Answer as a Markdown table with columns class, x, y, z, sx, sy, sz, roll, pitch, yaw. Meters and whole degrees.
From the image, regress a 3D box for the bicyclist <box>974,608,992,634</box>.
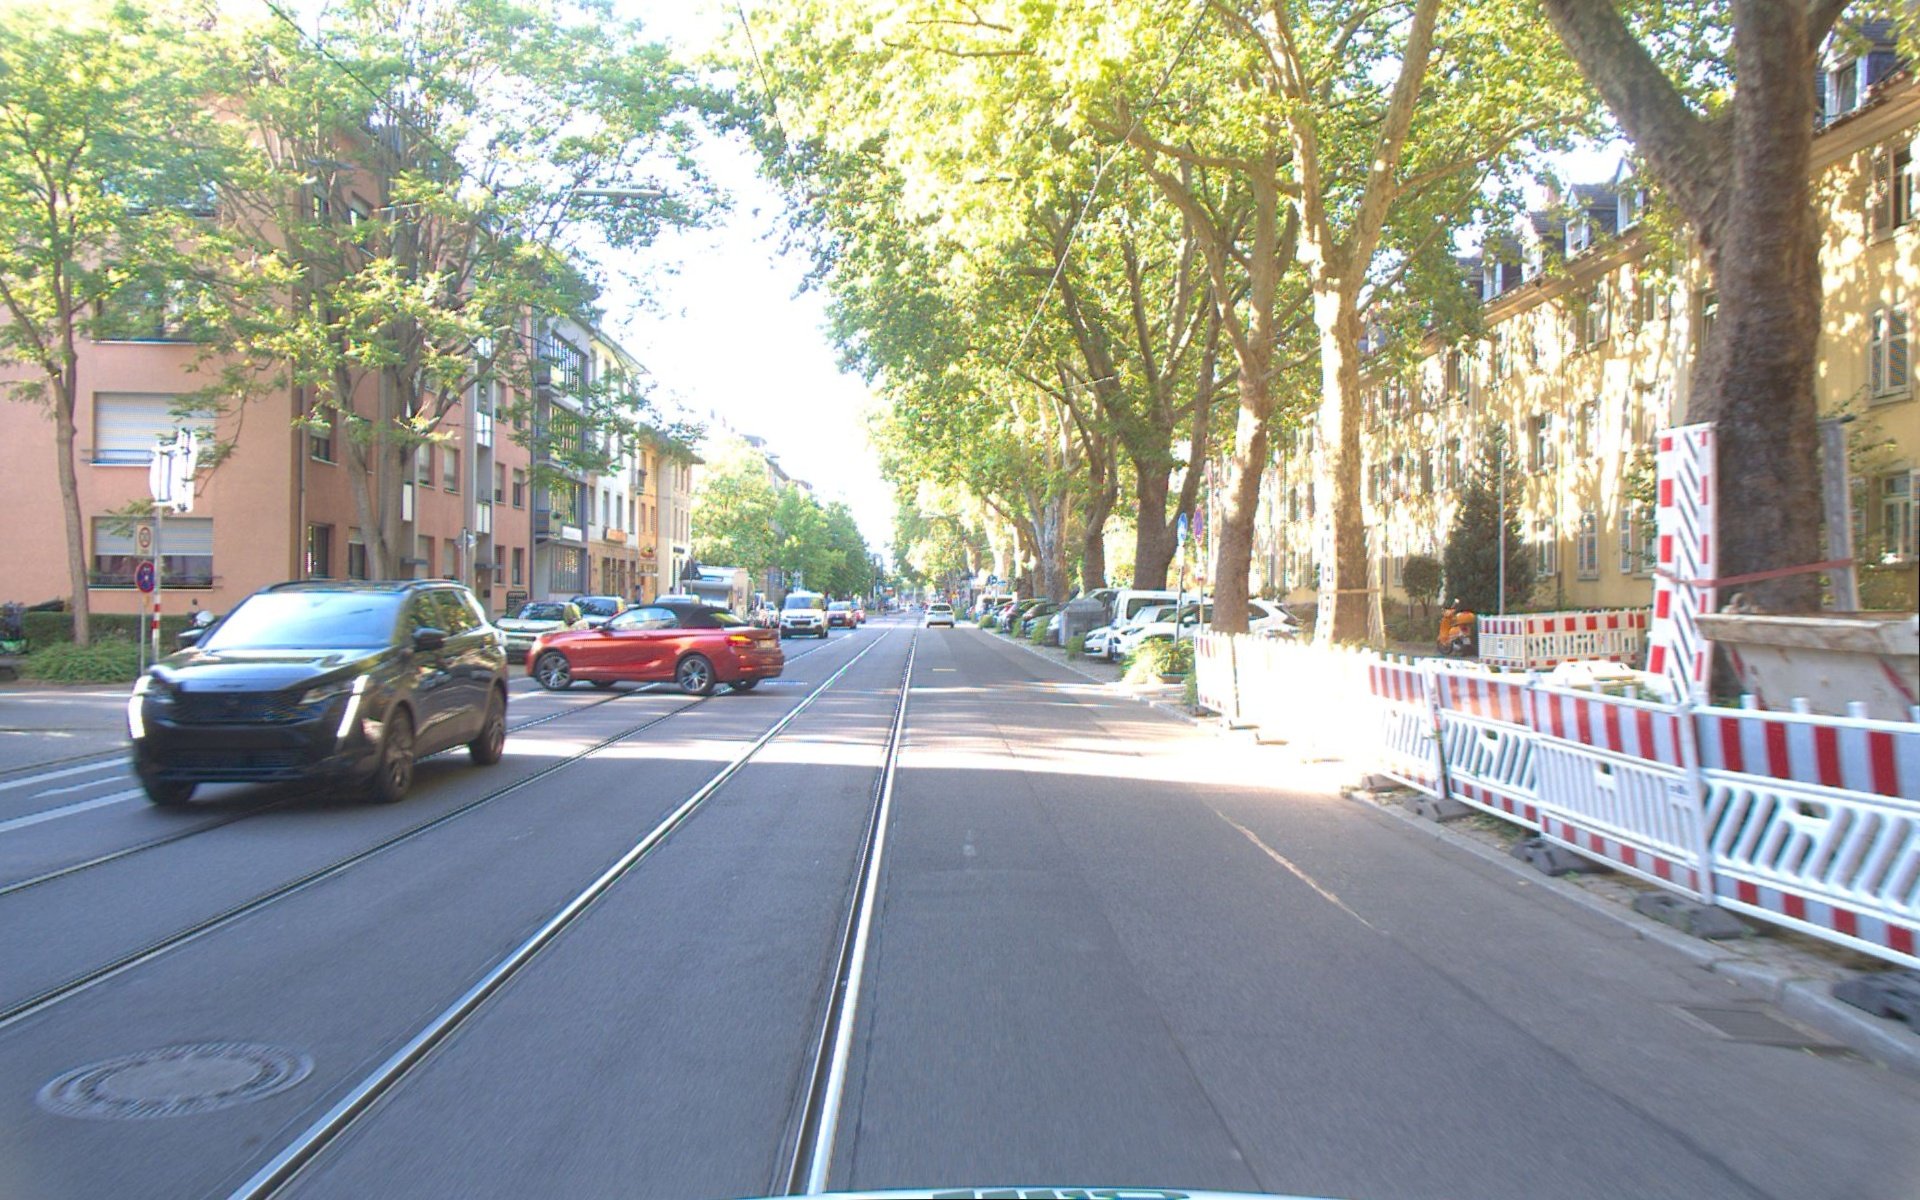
| class | x | y | z | sx | sy | sz | roll | pitch | yaw |
| --- | --- | --- | --- | --- | --- | --- | --- | --- | --- |
| bicyclist | 1.537 | 1.424 | 111.474 | 1.027 | 1.735 | 1.055 | 0 | 0 | -11 |

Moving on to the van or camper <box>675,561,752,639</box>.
| class | x | y | z | sx | sy | sz | roll | pitch | yaw |
| --- | --- | --- | --- | --- | --- | --- | --- | --- | --- |
| van or camper | -10.717 | 0.010 | 72.524 | 2.290 | 3.094 | 6.396 | 4 | 0 | 0 |

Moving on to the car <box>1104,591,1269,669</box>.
| class | x | y | z | sx | sy | sz | roll | pitch | yaw |
| --- | --- | --- | --- | --- | --- | --- | --- | --- | --- |
| car | 5.387 | 0.703 | 39.681 | 3.764 | 1.803 | 1.917 | 0 | 0 | 2 |

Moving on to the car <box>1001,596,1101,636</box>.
| class | x | y | z | sx | sy | sz | roll | pitch | yaw |
| --- | --- | --- | --- | --- | --- | --- | --- | --- | --- |
| car | 4.080 | 0.719 | 74.455 | 4.402 | 1.630 | 2.028 | -1 | 0 | 2 |

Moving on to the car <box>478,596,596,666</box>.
| class | x | y | z | sx | sy | sz | roll | pitch | yaw |
| --- | --- | --- | --- | --- | --- | --- | --- | --- | --- |
| car | -10.124 | 0.722 | 39.875 | 1.769 | 1.504 | 4.089 | 3 | 0 | 0 |

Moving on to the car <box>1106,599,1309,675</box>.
| class | x | y | z | sx | sy | sz | roll | pitch | yaw |
| --- | --- | --- | --- | --- | --- | --- | --- | --- | --- |
| car | 5.236 | 0.788 | 35.348 | 4.006 | 1.548 | 1.915 | 1 | -1 | -3 |

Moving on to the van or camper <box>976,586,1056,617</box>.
| class | x | y | z | sx | sy | sz | roll | pitch | yaw |
| --- | --- | --- | --- | --- | --- | --- | --- | --- | --- |
| van or camper | 4.001 | 0.107 | 118.599 | 5.448 | 2.048 | 2.242 | 0 | 2 | -6 |

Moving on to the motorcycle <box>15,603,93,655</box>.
| class | x | y | z | sx | sy | sz | roll | pitch | yaw |
| --- | --- | --- | --- | --- | --- | --- | --- | --- | --- |
| motorcycle | -20.746 | 0.655 | 37.919 | 0.680 | 1.149 | 2.066 | 0 | 0 | -2 |

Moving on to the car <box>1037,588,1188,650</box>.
| class | x | y | z | sx | sy | sz | roll | pitch | yaw |
| --- | --- | --- | --- | --- | --- | --- | --- | --- | --- |
| car | 5.050 | 0.633 | 55.167 | 4.740 | 1.998 | 2.063 | 1 | 0 | -4 |

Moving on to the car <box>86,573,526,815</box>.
| class | x | y | z | sx | sy | sz | roll | pitch | yaw |
| --- | --- | --- | --- | --- | --- | --- | --- | --- | --- |
| car | -4.989 | 0.630 | 13.374 | 1.815 | 1.628 | 4.463 | 0 | 0 | -1 |

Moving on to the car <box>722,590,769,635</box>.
| class | x | y | z | sx | sy | sz | roll | pitch | yaw |
| --- | --- | --- | --- | --- | --- | --- | --- | --- | --- |
| car | -11.006 | 0.597 | 85.186 | 1.914 | 2.128 | 5.245 | 4 | 0 | -3 |

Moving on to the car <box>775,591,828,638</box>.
| class | x | y | z | sx | sy | sz | roll | pitch | yaw |
| --- | --- | --- | --- | --- | --- | --- | --- | --- | --- |
| car | -6.472 | 0.569 | 67.952 | 1.853 | 1.864 | 4.893 | 0 | 0 | -2 |

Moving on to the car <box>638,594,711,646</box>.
| class | x | y | z | sx | sy | sz | roll | pitch | yaw |
| --- | --- | --- | --- | --- | --- | --- | --- | --- | --- |
| car | -10.356 | 0.698 | 60.273 | 1.913 | 1.716 | 5.068 | 2 | 0 | -2 |

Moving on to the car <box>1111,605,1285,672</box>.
| class | x | y | z | sx | sy | sz | roll | pitch | yaw |
| --- | --- | --- | --- | --- | --- | --- | --- | --- | --- |
| car | 5.371 | 0.857 | 37.717 | 3.764 | 1.458 | 1.852 | 0 | 0 | 2 |

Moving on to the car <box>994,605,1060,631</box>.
| class | x | y | z | sx | sy | sz | roll | pitch | yaw |
| --- | --- | --- | --- | --- | --- | --- | --- | --- | --- |
| car | 3.742 | 1.016 | 92.315 | 3.576 | 1.402 | 1.889 | 0 | 0 | -1 |

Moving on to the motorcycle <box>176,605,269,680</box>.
| class | x | y | z | sx | sy | sz | roll | pitch | yaw |
| --- | --- | --- | --- | --- | --- | --- | --- | --- | --- |
| motorcycle | -14.333 | 0.800 | 32.228 | 0.884 | 1.303 | 2.347 | 0 | 2 | -4 |

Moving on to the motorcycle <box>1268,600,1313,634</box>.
| class | x | y | z | sx | sy | sz | roll | pitch | yaw |
| --- | --- | --- | --- | --- | --- | --- | --- | --- | --- |
| motorcycle | 14.422 | 0.744 | 72.220 | 1.768 | 1.385 | 0.622 | -3 | 0 | -4 |

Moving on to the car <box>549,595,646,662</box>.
| class | x | y | z | sx | sy | sz | roll | pitch | yaw |
| --- | --- | --- | --- | --- | --- | --- | --- | --- | --- |
| car | -9.910 | 0.742 | 45.515 | 1.745 | 1.638 | 4.586 | 3 | 0 | -2 |

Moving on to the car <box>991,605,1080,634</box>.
| class | x | y | z | sx | sy | sz | roll | pitch | yaw |
| --- | --- | --- | --- | --- | --- | --- | --- | --- | --- |
| car | 3.985 | 1.021 | 87.453 | 4.592 | 1.472 | 1.891 | 0 | 0 | -1 |

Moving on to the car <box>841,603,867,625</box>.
| class | x | y | z | sx | sy | sz | roll | pitch | yaw |
| --- | --- | --- | --- | --- | --- | --- | --- | --- | --- |
| car | -7.458 | 0.960 | 116.805 | 1.688 | 1.462 | 4.068 | -1 | 0 | -2 |

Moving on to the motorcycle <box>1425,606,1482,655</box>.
| class | x | y | z | sx | sy | sz | roll | pitch | yaw |
| --- | --- | --- | --- | --- | --- | --- | --- | --- | --- |
| motorcycle | 12.365 | 0.745 | 41.517 | 0.700 | 1.173 | 2.263 | 0 | 0 | -1 |

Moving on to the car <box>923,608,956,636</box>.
| class | x | y | z | sx | sy | sz | roll | pitch | yaw |
| --- | --- | --- | --- | --- | --- | --- | --- | --- | --- |
| car | -1.260 | 1.300 | 99.522 | 1.879 | 1.612 | 3.790 | -1 | 0 | -2 |

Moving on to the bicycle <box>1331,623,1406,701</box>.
| class | x | y | z | sx | sy | sz | roll | pitch | yaw |
| --- | --- | --- | --- | --- | --- | --- | --- | --- | --- |
| bicycle | 6.515 | 0.967 | 26.495 | 0.676 | 1.174 | 1.948 | 0 | 0 | -1 |

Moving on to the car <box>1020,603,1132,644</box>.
| class | x | y | z | sx | sy | sz | roll | pitch | yaw |
| --- | --- | --- | --- | --- | --- | --- | --- | --- | --- |
| car | 4.448 | 0.906 | 64.053 | 4.161 | 1.509 | 1.897 | 0 | 0 | -2 |

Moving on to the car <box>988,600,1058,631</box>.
| class | x | y | z | sx | sy | sz | roll | pitch | yaw |
| --- | --- | --- | --- | --- | --- | --- | --- | --- | --- |
| car | 3.604 | 0.881 | 94.536 | 3.845 | 1.699 | 1.959 | 1 | 0 | -3 |

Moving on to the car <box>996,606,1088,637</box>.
| class | x | y | z | sx | sy | sz | roll | pitch | yaw |
| --- | --- | --- | --- | --- | --- | --- | --- | --- | --- |
| car | 3.908 | 1.021 | 79.058 | 4.209 | 1.464 | 1.947 | 1 | 0 | -3 |

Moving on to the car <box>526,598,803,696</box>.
| class | x | y | z | sx | sy | sz | roll | pitch | yaw |
| --- | --- | --- | --- | --- | --- | --- | --- | --- | --- |
| car | -4.811 | 0.724 | 26.996 | 4.135 | 1.413 | 1.799 | 1 | 2 | 21 |

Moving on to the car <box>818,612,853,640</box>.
| class | x | y | z | sx | sy | sz | roll | pitch | yaw |
| --- | --- | --- | --- | --- | --- | --- | --- | --- | --- |
| car | -6.971 | 1.427 | 92.843 | 1.740 | 1.483 | 4.201 | -1 | 0 | -2 |

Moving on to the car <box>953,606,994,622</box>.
| class | x | y | z | sx | sy | sz | roll | pitch | yaw |
| --- | --- | --- | --- | --- | --- | --- | --- | --- | --- |
| car | 1.296 | 1.345 | 160.883 | 3.906 | 1.547 | 1.999 | 0 | 0 | -1 |

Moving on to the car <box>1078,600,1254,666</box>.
| class | x | y | z | sx | sy | sz | roll | pitch | yaw |
| --- | --- | --- | --- | --- | --- | --- | --- | --- | --- |
| car | 5.136 | 0.818 | 41.700 | 4.279 | 1.569 | 1.802 | 0 | 1 | 2 |

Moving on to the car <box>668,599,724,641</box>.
| class | x | y | z | sx | sy | sz | roll | pitch | yaw |
| --- | --- | --- | --- | --- | --- | --- | --- | --- | --- |
| car | -10.515 | 0.774 | 66.017 | 1.676 | 1.514 | 3.860 | 3 | 0 | -2 |

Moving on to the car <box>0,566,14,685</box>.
| class | x | y | z | sx | sy | sz | roll | pitch | yaw |
| --- | --- | --- | --- | --- | --- | --- | --- | --- | --- |
| car | -19.360 | 0.448 | 31.759 | 1.972 | 2.160 | 4.677 | 1 | -1 | -29 |

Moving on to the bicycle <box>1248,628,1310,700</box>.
| class | x | y | z | sx | sy | sz | roll | pitch | yaw |
| --- | --- | --- | --- | --- | --- | --- | --- | --- | --- |
| bicycle | 5.131 | 1.016 | 26.684 | 0.622 | 1.089 | 1.808 | 0 | 0 | -1 |

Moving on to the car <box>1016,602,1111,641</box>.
| class | x | y | z | sx | sy | sz | roll | pitch | yaw |
| --- | --- | --- | --- | --- | --- | --- | --- | --- | --- |
| car | 4.241 | 0.887 | 67.955 | 3.761 | 1.536 | 1.710 | 0 | 0 | -2 |
